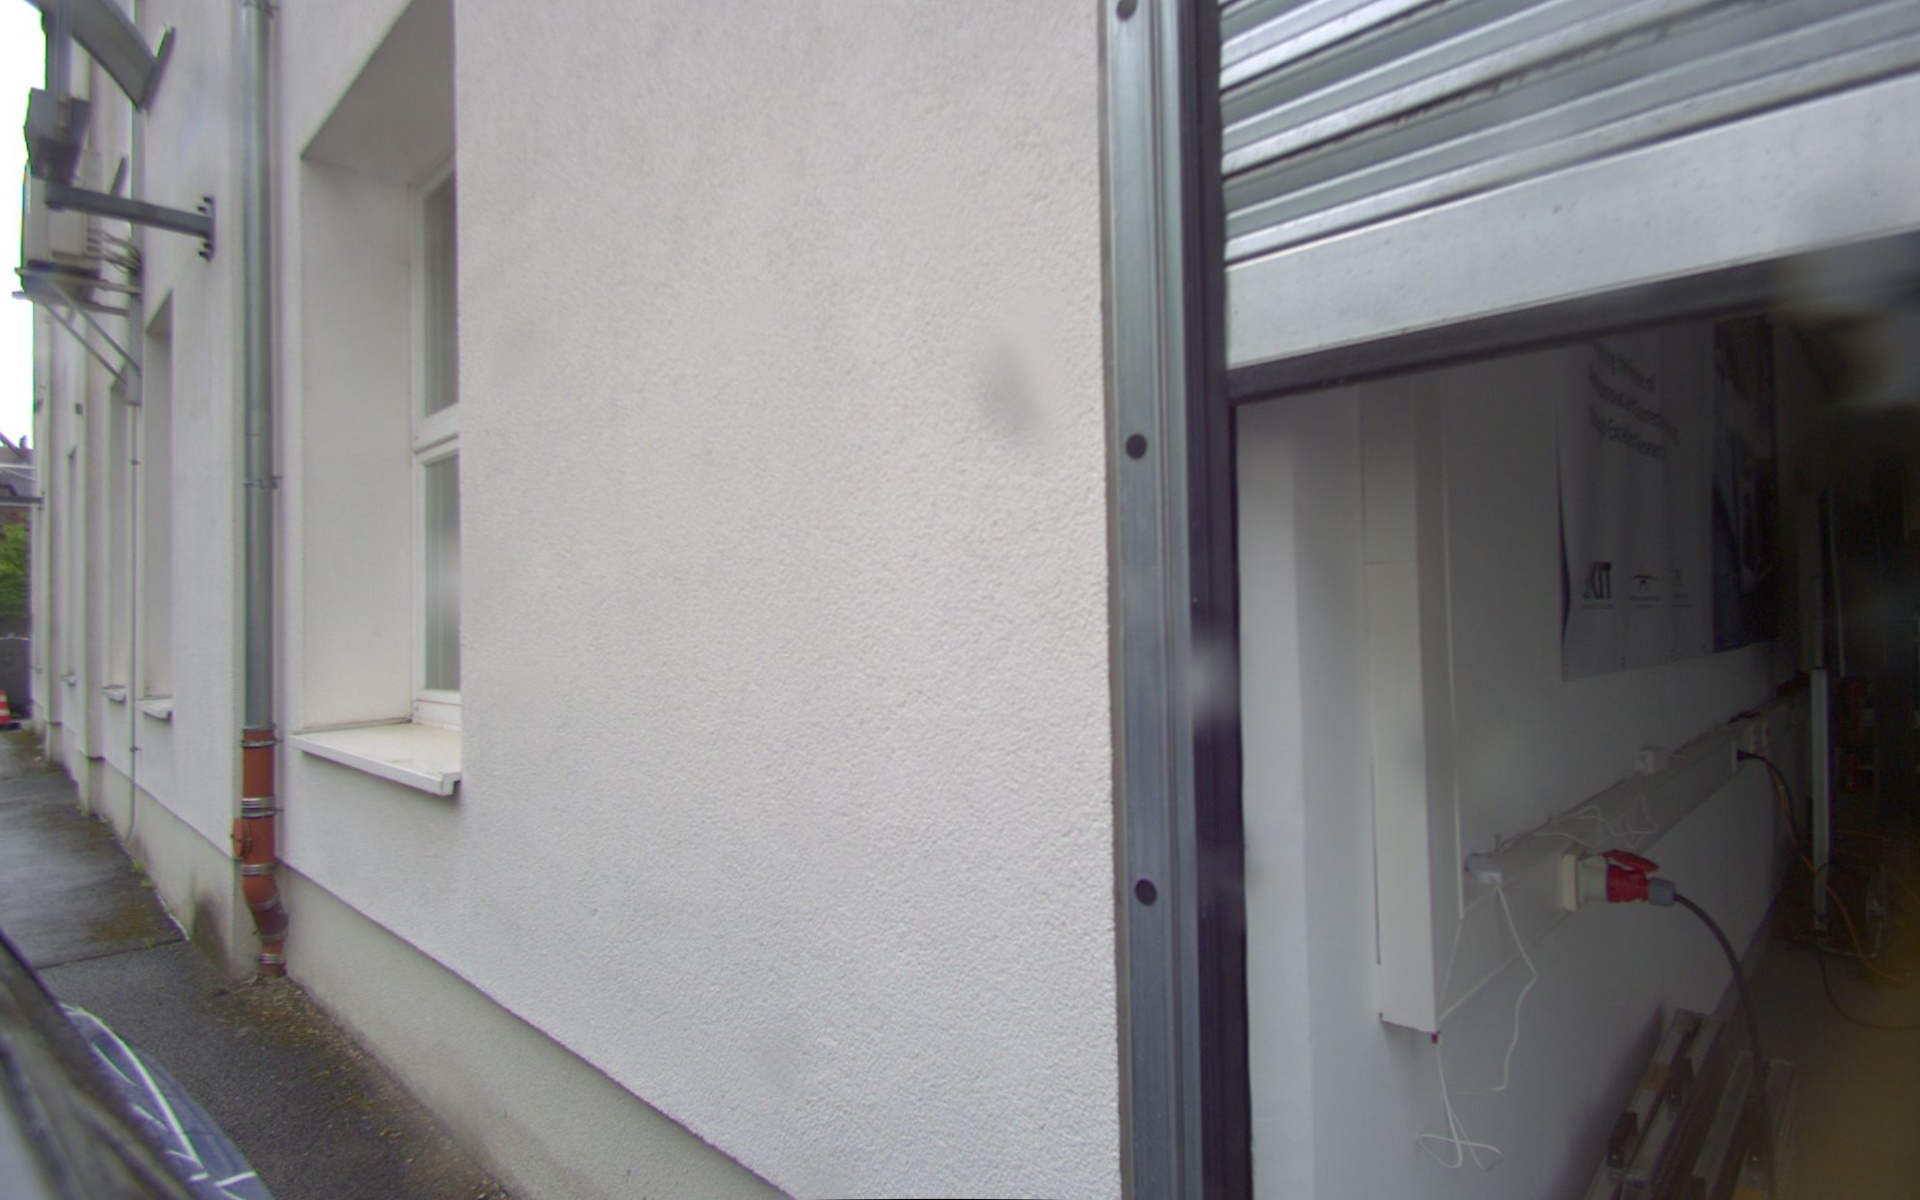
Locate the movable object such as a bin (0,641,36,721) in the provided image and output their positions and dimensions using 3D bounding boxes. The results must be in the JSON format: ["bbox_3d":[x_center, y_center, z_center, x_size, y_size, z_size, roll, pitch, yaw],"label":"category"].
[{"bbox_3d":[-18.509,1.518,19.246,1.495,1.494,1.153,-2,-3,39],"label":"movable object such as a bin"}]

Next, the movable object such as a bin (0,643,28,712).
[{"bbox_3d":[-21.555,1.726,22.462,1.086,1.484,1.489,-1,-1,-35],"label":"movable object such as a bin"}]

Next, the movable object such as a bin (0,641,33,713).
[{"bbox_3d":[-20.495,1.648,21.364,1.401,1.494,1.153,-5,-3,38],"label":"movable object such as a bin"}]

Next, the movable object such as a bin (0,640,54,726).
[{"bbox_3d":[-17.254,1.460,18.210,1.593,1.494,1.153,-2,-3,39],"label":"movable object such as a bin"}]
